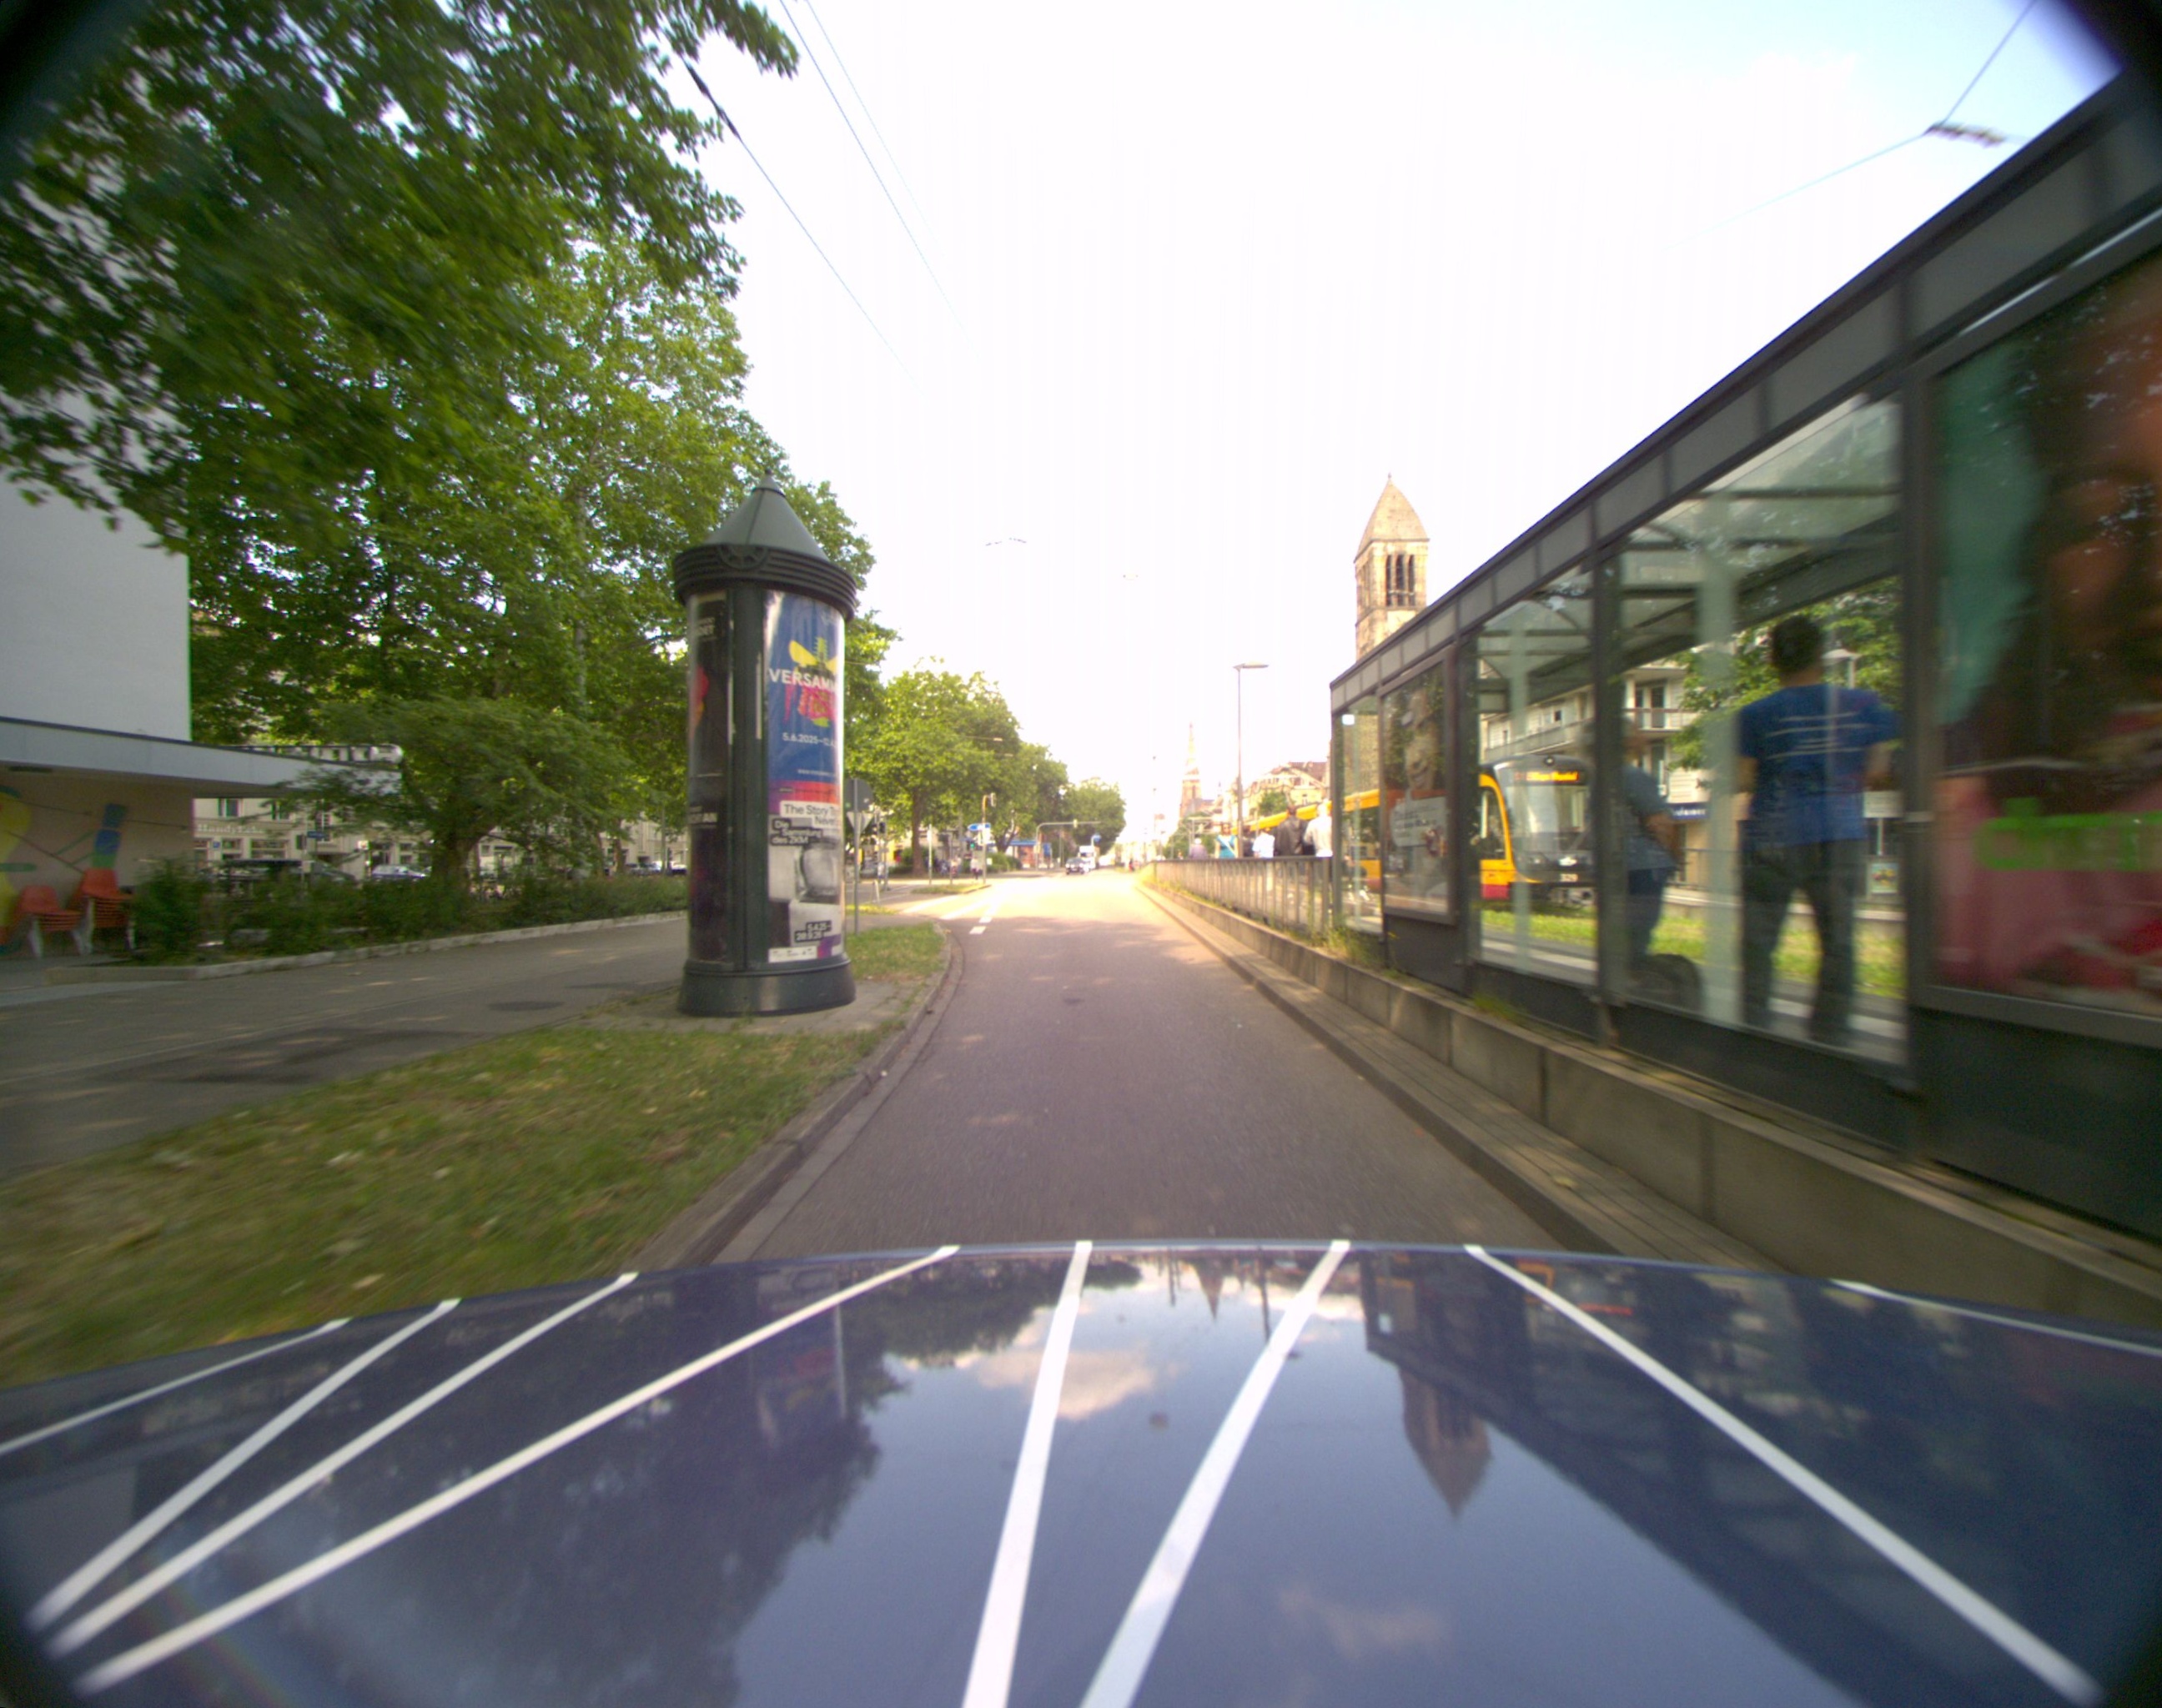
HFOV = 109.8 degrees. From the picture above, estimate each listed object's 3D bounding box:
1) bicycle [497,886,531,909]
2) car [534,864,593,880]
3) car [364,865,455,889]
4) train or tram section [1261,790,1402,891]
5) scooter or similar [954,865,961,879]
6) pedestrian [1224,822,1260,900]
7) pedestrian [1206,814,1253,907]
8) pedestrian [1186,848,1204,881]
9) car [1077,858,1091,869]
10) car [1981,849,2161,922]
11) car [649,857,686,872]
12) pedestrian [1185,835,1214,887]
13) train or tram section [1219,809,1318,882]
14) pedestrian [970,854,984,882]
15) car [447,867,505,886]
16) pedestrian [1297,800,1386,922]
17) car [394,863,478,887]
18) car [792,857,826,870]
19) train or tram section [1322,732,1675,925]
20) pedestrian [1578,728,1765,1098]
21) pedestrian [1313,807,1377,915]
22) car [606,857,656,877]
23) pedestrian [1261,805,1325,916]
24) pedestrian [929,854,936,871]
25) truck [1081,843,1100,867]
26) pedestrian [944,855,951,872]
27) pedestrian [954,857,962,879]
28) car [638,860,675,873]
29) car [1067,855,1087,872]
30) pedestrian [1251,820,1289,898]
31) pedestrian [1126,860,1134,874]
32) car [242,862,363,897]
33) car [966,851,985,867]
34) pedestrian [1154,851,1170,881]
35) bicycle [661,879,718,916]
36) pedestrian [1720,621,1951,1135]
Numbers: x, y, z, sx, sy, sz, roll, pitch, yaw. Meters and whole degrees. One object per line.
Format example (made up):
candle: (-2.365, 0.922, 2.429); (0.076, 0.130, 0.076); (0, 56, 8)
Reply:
bicycle: (-19.625, 1.493, 26.290); (1.209, 0.792, 0.298); (-1, 0, 19)
car: (-47.111, 1.645, 69.273); (3.996, 1.413, 2.000); (-1, 0, 2)
car: (-47.444, 1.601, 53.756); (4.535, 1.591, 2.034); (-1, 0, 0)
train or tram section: (10.186, -0.450, 32.414); (2.802, 3.563, 10.405); (-1, 0, 1)
scooter or similar: (-9.139, 1.312, 56.266); (0.491, 1.050, 0.708); (0, 0, -12)
pedestrian: (3.878, 0.161, 18.385); (0.703, 1.838, 0.789); (-1, 1, 1)
pedestrian: (3.105, 0.133, 15.990); (0.829, 1.888, 0.846); (-1, 1, 2)
pedestrian: (6.291, 0.583, 41.995); (0.850, 1.770, 1.045); (-1, 0, 2)
car: (0.423, 1.191, 98.656); (1.733, 1.457, 4.328); (0, 0, 2)
car: (24.149, 0.681, 17.956); (1.657, 1.569, 3.477); (0, 0, -1)
car: (-56.575, 1.456, 103.965); (3.996, 1.952, 2.000); (-1, 0, 4)
pedestrian: (4.099, 0.229, 26.331); (0.859, 1.764, 0.876); (-1, 0, 2)
train or tram section: (10.490, -0.418, 44.139); (2.814, 3.563, 13.017); (-1, 0, 1)
pedestrian: (-6.726, 0.924, 49.038); (0.694, 1.773, 0.887); (-1, 0, 4)
car: (-46.854, 1.747, 58.871); (3.235, 1.381, 1.469); (-1, 0, -5)
pedestrian: (4.032, 0.109, 11.903); (0.888, 1.790, 1.495); (-1, 0, 1)
car: (-47.836, 1.544, 56.424); (4.535, 1.680, 1.911); (-1, 0, 0)
car: (-37.568, 1.303, 105.095); (3.996, 1.789, 1.870); (-1, 0, 4)
train or tram section: (9.887, -0.451, 20.731); (2.730, 3.563, 13.017); (-1, 0, 1)
pedestrian: (2.783, 0.264, 3.623); (0.471, 1.631, 0.537); (0, 0, 1)
pedestrian: (4.554, 0.121, 13.173); (0.713, 1.790, 1.132); (-1, 0, 1)
car: (-47.042, 1.383, 79.481); (3.997, 2.002, 2.000); (-1, 0, 0)
pedestrian: (3.666, 0.110, 13.218); (0.812, 1.861, 1.031); (-1, 0, 1)
pedestrian: (-15.359, 0.900, 78.772); (0.606, 1.740, 0.697); (0, 0, -22)
truck: (1.665, 0.203, 132.961); (2.914, 4.125, 6.592); (-1, 0, 3)
pedestrian: (-13.810, 0.965, 78.694); (0.606, 1.740, 0.697); (0, 0, -22)
pedestrian: (-9.265, 1.029, 57.083); (0.570, 1.636, 0.922); (0, 0, -11)
car: (-56.541, 1.686, 101.300); (3.996, 1.627, 1.745); (-1, 0, 3)
car: (-0.400, 0.979, 80.052); (1.853, 1.716, 4.420); (0, 0, 3)
pedestrian: (4.556, 0.120, 18.367); (0.703, 1.838, 0.908); (-1, 0, 1)
pedestrian: (5.445, 1.437, 84.608); (0.776, 1.483, 0.658); (1, 0, -10)
car: (-38.756, 1.237, 37.948); (3.753, 1.651, 1.864); (0, 0, -21)
car: (-16.103, 0.753, 115.643); (2.110, 2.406, 4.001); (-1, 0, 3)
pedestrian: (4.536, 0.684, 42.494); (0.624, 1.656, 0.677); (-1, 0, 28)
bicycle: (-11.166, 1.211, 21.659); (1.724, 1.003, 0.535); (-1, 0, 29)
pedestrian: (3.085, 0.090, 3.129); (0.472, 1.889, 0.536); (0, 0, -23)
